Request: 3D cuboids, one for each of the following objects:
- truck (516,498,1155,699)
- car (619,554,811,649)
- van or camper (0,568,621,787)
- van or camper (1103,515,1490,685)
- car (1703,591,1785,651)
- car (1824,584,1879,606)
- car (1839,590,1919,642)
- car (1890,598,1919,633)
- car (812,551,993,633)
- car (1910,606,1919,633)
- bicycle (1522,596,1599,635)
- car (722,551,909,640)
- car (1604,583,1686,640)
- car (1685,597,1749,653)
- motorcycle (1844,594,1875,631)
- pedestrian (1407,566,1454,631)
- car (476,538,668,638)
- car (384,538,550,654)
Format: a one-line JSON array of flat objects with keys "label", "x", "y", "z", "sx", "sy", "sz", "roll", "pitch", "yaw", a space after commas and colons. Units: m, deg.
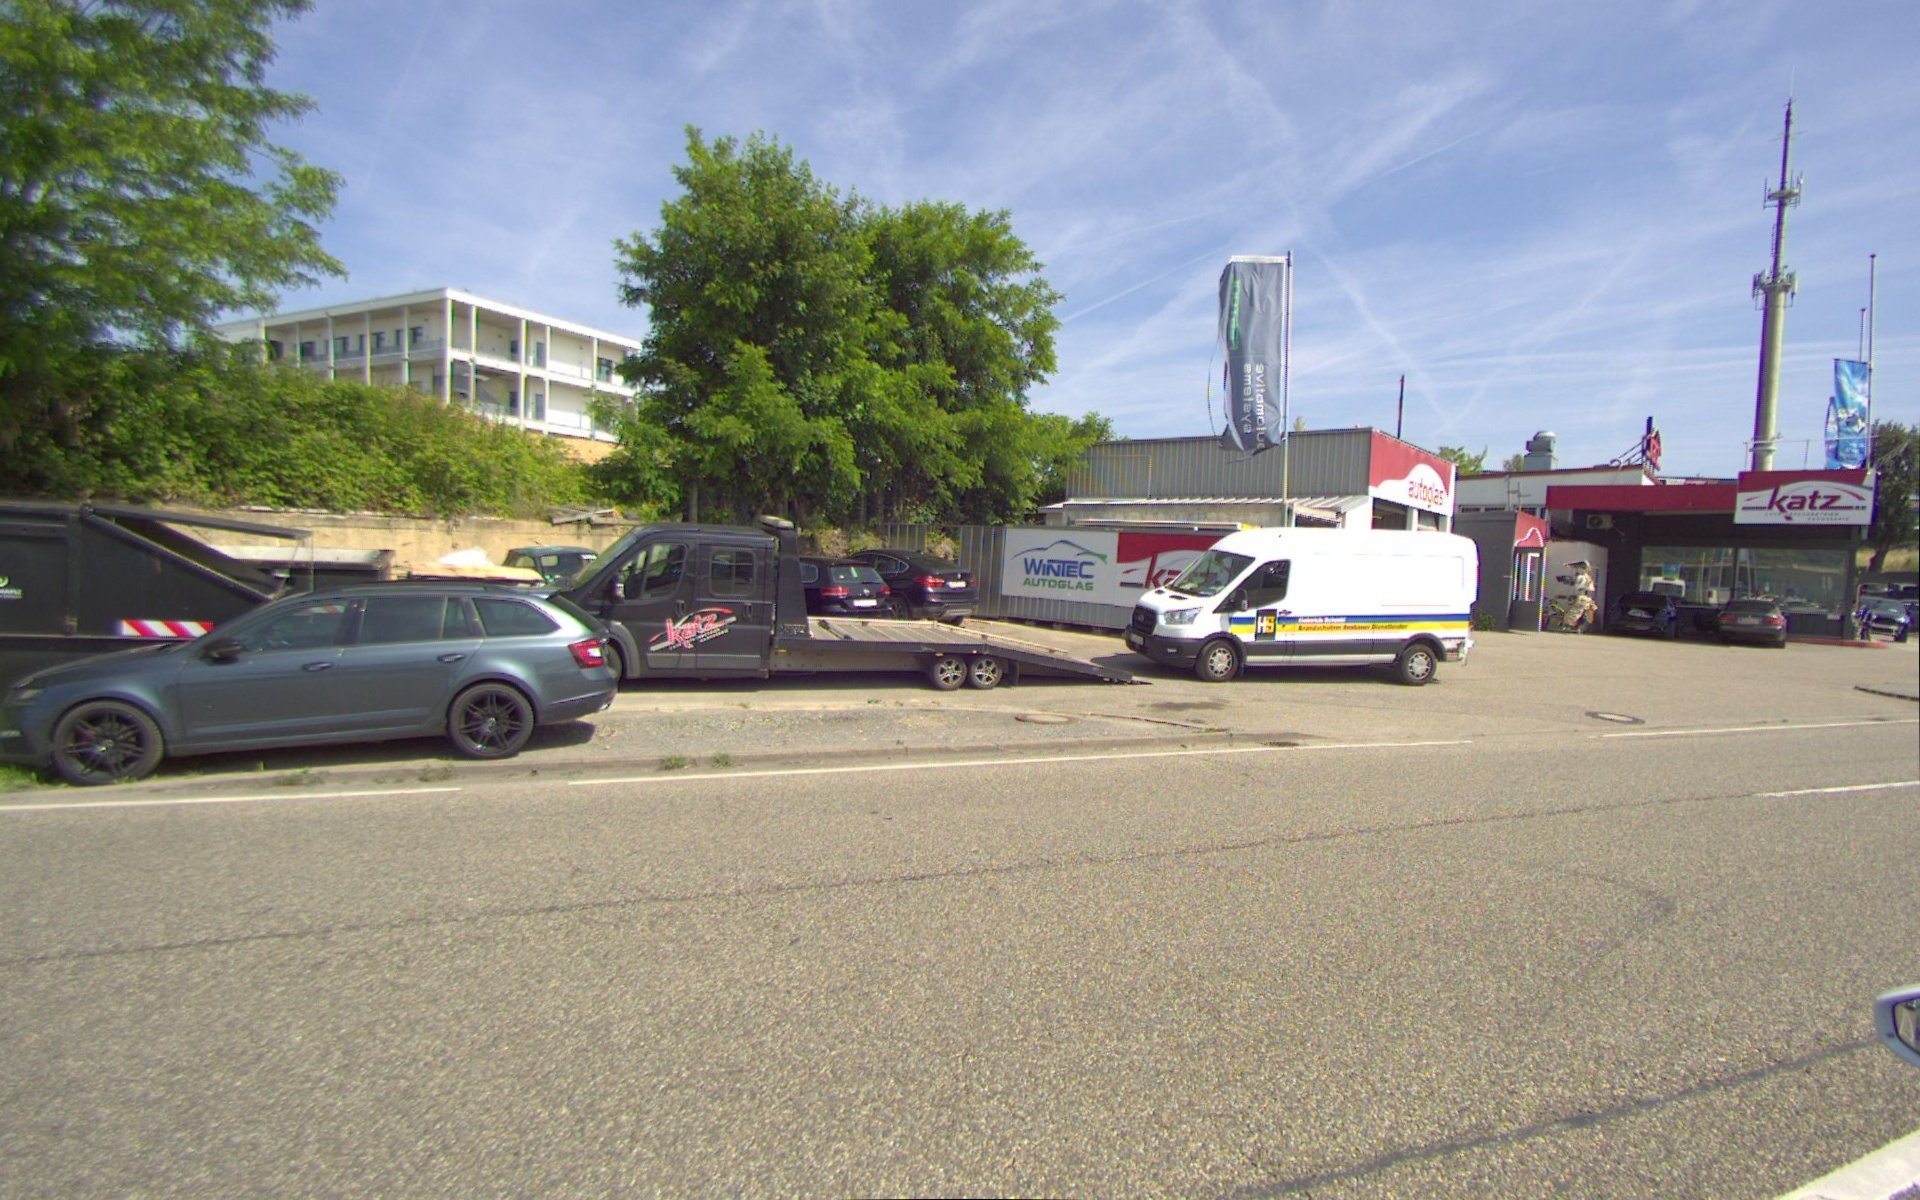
[{"label": "truck", "x": -1.592, "y": -0.006, "z": 14.511, "sx": 8.674, "sy": 2.328, "sz": 2.325, "roll": 2, "pitch": 6, "yaw": -22}, {"label": "car", "x": -4.460, "y": -0.028, "z": 17.989, "sx": 1.728, "sy": 1.489, "sz": 3.622, "roll": 1, "pitch": 2, "yaw": -44}, {"label": "van or camper", "x": -5.362, "y": 0.597, "z": 8.797, "sx": 4.404, "sy": 1.545, "sz": 1.635, "roll": 2, "pitch": 2, "yaw": -23}, {"label": "van or camper", "x": 5.625, "y": -0.027, "z": 17.076, "sx": 5.848, "sy": 2.533, "sz": 2.155, "roll": 2, "pitch": 5, "yaw": -14}, {"label": "car", "x": 24.751, "y": 0.596, "z": 31.661, "sx": 1.831, "sy": 1.525, "sz": 4.375, "roll": 6, "pitch": 6, "yaw": 39}, {"label": "car", "x": 65.542, "y": -0.374, "z": 73.910, "sx": 1.702, "sy": 1.470, "sz": 3.748, "roll": 3, "pitch": 1, "yaw": 21}, {"label": "car", "x": 35.578, "y": 0.620, "z": 38.867, "sx": 1.798, "sy": 1.696, "sz": 4.112, "roll": 9, "pitch": 4, "yaw": 36}, {"label": "car", "x": 44.625, "y": 0.725, "z": 45.191, "sx": 3.890, "sy": 1.553, "sz": 1.761, "roll": 2, "pitch": 1, "yaw": 39}, {"label": "car", "x": -1.265, "y": -0.207, "z": 21.252, "sx": 3.616, "sy": 1.550, "sz": 1.731, "roll": 3, "pitch": 2, "yaw": 40}, {"label": "car", "x": 59.835, "y": 1.237, "z": 60.687, "sx": 1.733, "sy": 1.609, "sz": 3.831, "roll": 2, "pitch": 1, "yaw": 12}, {"label": "bicycle", "x": 19.078, "y": 0.493, "z": 31.932, "sx": 1.969, "sy": 0.984, "sz": 0.413, "roll": 9, "pitch": 5, "yaw": 41}, {"label": "car", "x": -2.829, "y": -0.132, "z": 19.205, "sx": 1.728, "sy": 1.489, "sz": 3.622, "roll": 1, "pitch": 2, "yaw": -44}, {"label": "car", "x": 22.592, "y": 0.319, "z": 33.077, "sx": 1.830, "sy": 1.525, "sz": 3.982, "roll": 7, "pitch": 7, "yaw": 38}, {"label": "car", "x": 27.973, "y": 0.875, "z": 37.160, "sx": 1.677, "sy": 1.783, "sz": 3.747, "roll": 7, "pitch": 4, "yaw": 37}, {"label": "motorcycle", "x": 32.406, "y": 0.464, "z": 36.201, "sx": 0.761, "sy": 1.278, "sz": 2.044, "roll": 2, "pitch": 1, "yaw": 41}, {"label": "pedestrian", "x": 13.201, "y": -0.052, "z": 28.219, "sx": 0.882, "sy": 1.786, "sz": 0.720, "roll": 2, "pitch": 2, "yaw": -25}, {"label": "car", "x": -6.582, "y": -0.246, "z": 16.871, "sx": 1.728, "sy": 1.489, "sz": 3.622, "roll": 1, "pitch": 2, "yaw": -44}, {"label": "car", "x": -7.591, "y": -0.114, "z": 15.294, "sx": 1.700, "sy": 1.531, "sz": 3.634, "roll": 1, "pitch": 2, "yaw": -35}]
